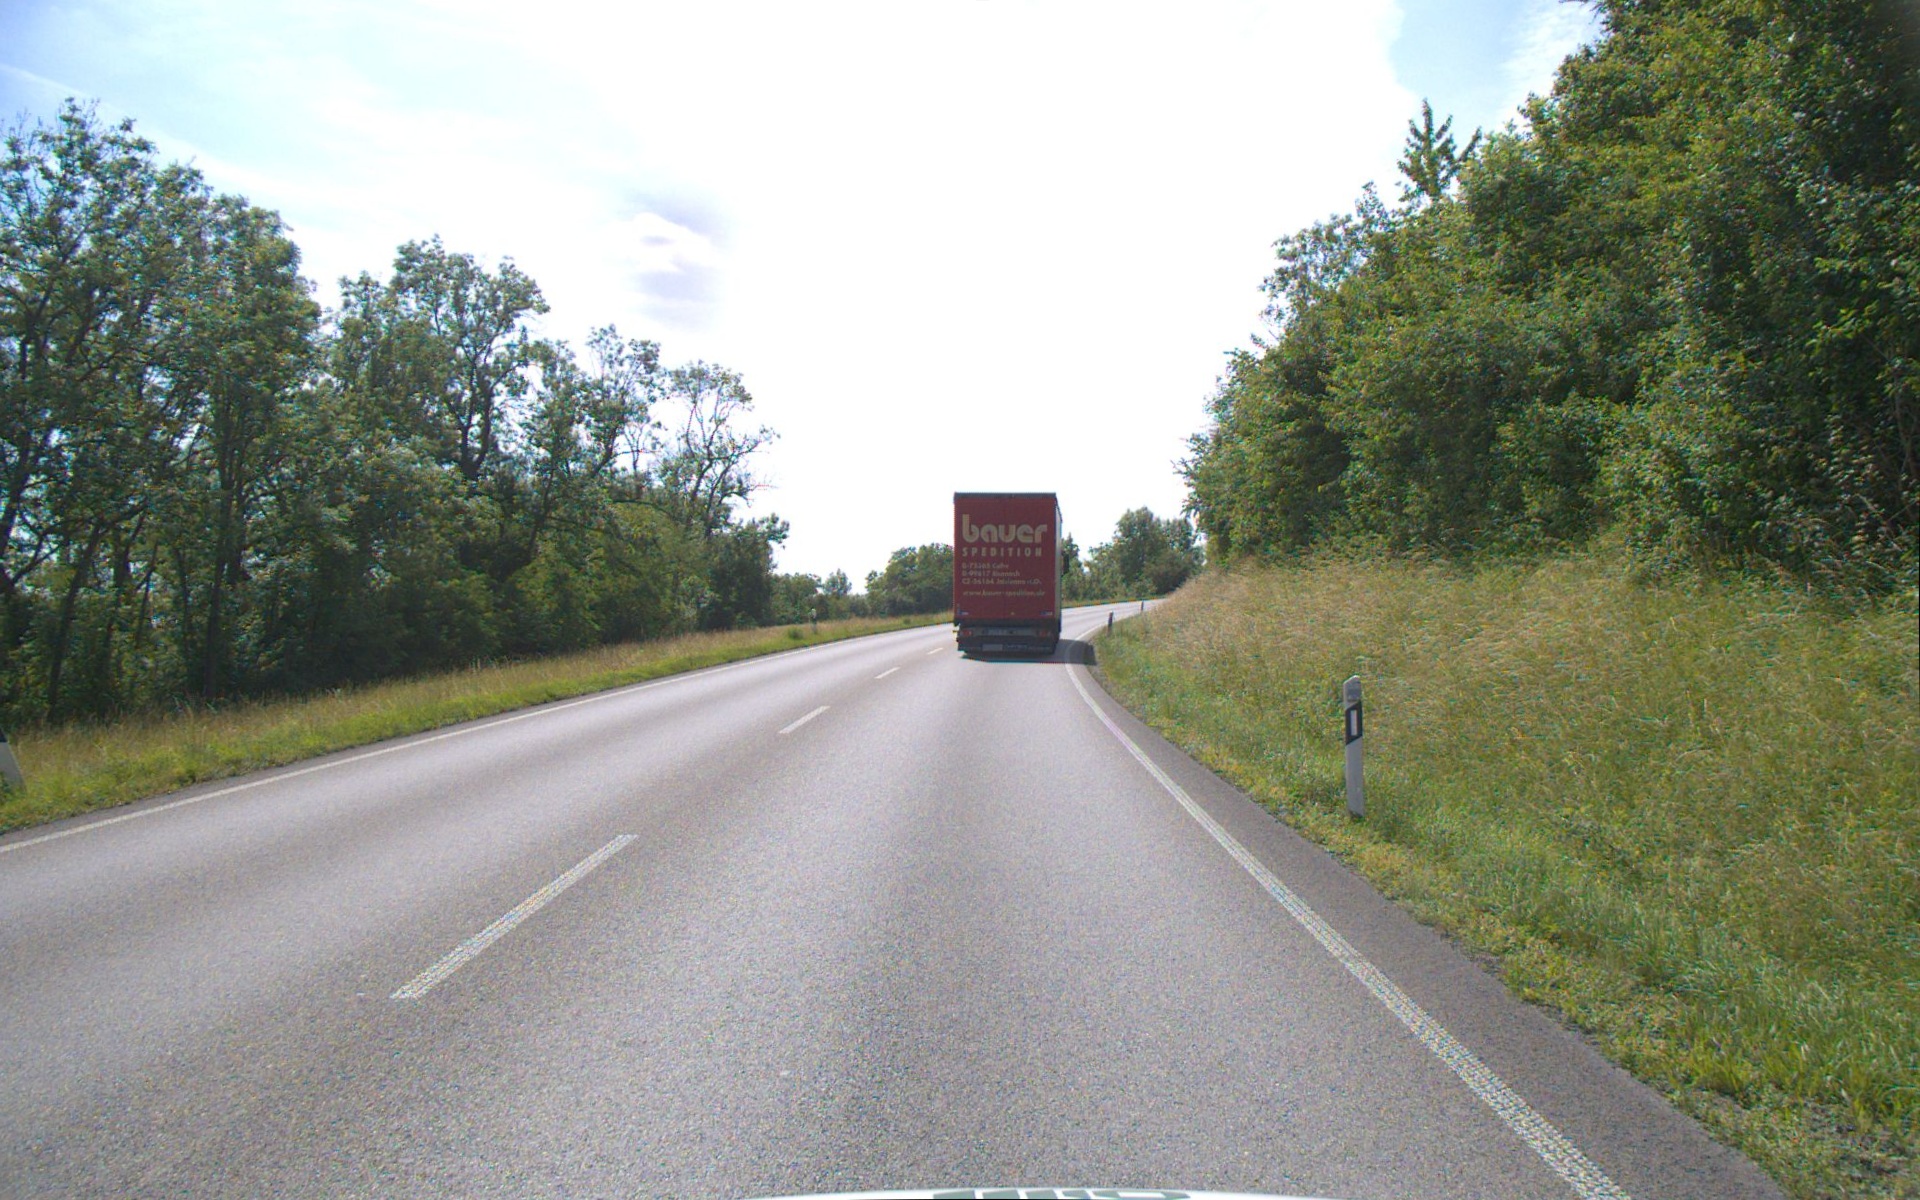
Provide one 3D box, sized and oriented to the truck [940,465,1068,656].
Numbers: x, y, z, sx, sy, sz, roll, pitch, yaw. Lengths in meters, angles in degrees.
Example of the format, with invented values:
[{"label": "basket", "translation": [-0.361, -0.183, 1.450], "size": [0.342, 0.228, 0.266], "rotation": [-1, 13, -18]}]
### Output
[{"label": "truck", "translation": [1.460, -0.968, 45.923], "size": [3.047, 4.584, 12.173], "rotation": [0, 0, 4]}]
